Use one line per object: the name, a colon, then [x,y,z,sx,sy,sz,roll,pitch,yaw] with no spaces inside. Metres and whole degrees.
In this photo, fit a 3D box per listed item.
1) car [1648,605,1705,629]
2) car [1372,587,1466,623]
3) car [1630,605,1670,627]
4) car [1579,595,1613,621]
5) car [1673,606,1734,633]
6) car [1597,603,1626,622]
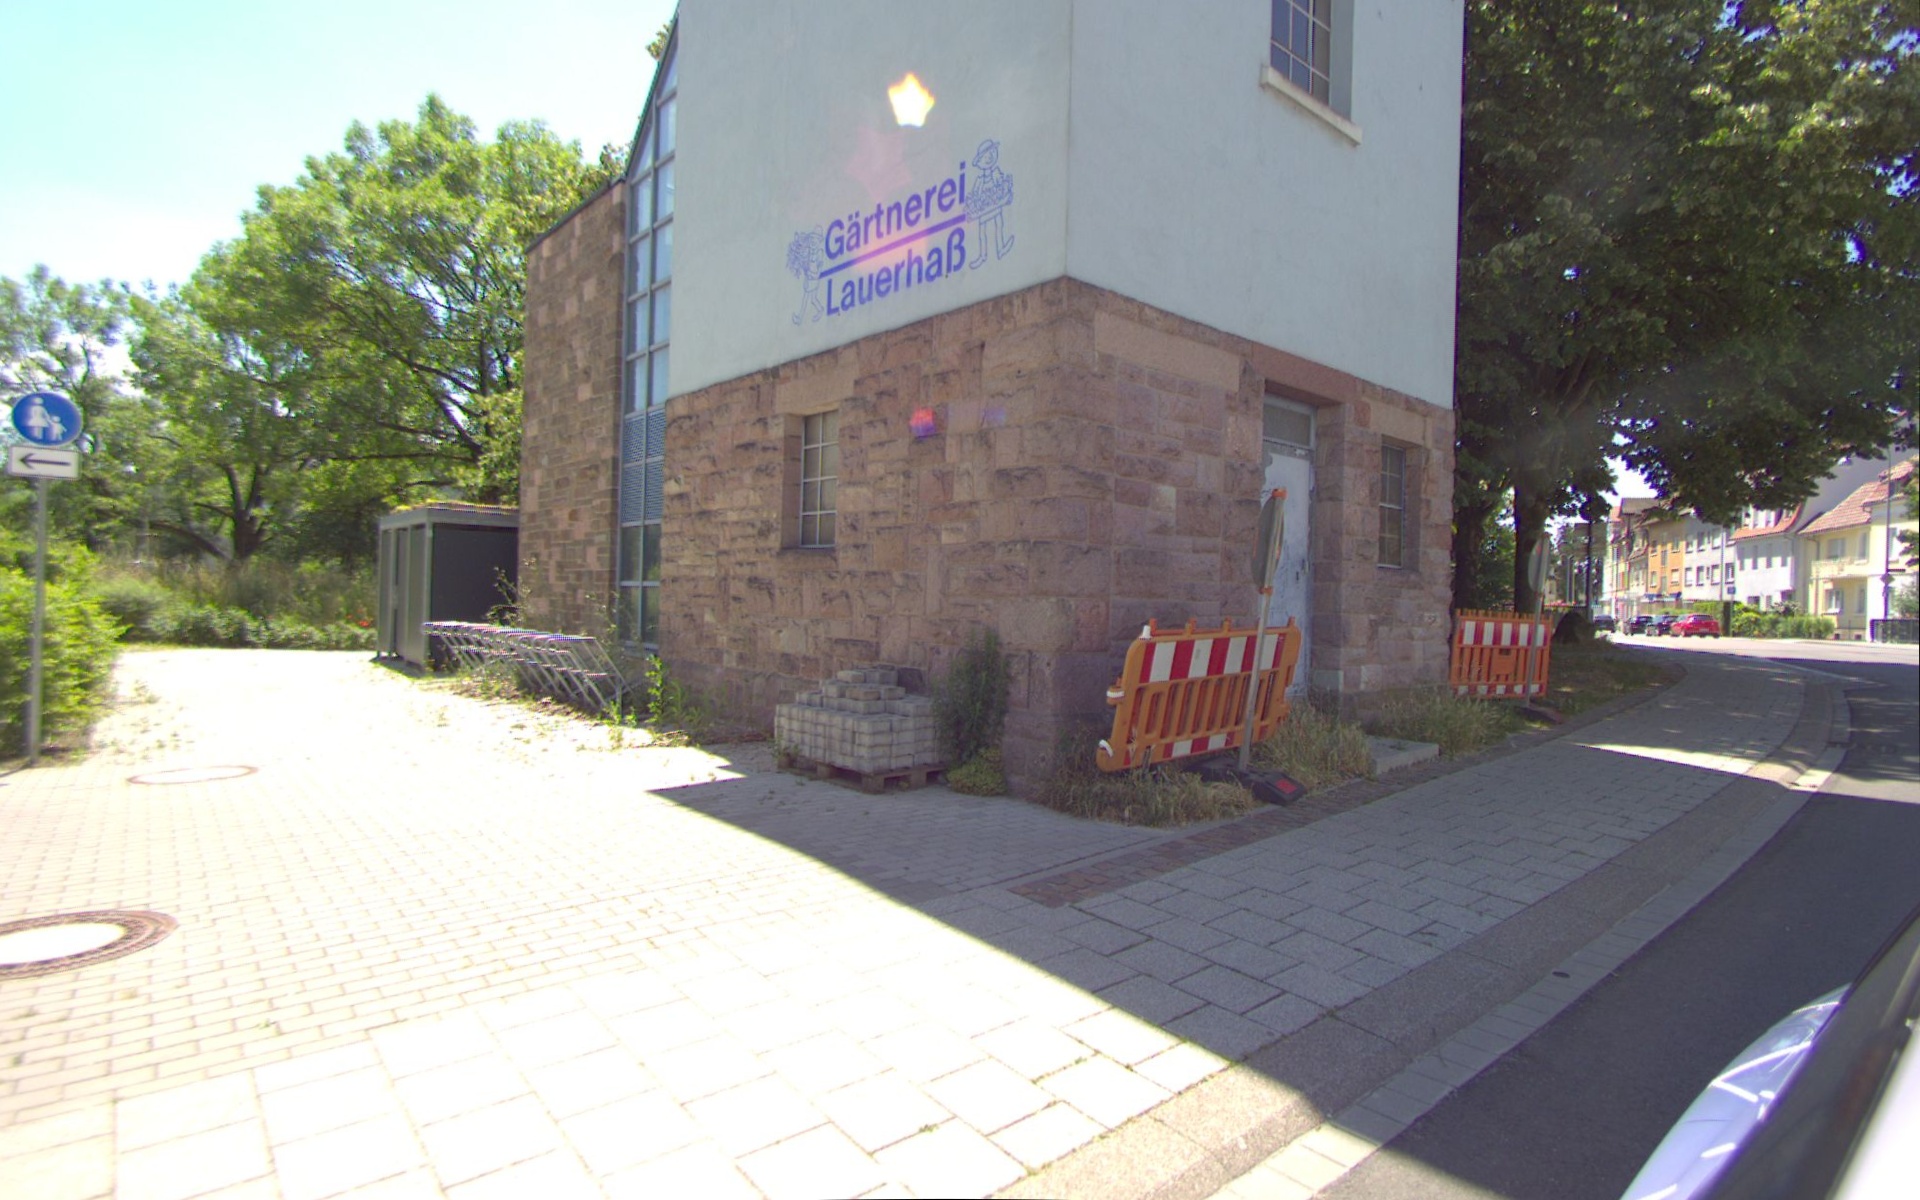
car: [46.754,1.121,66.142,1.848,1.480,5.265,0,-1,22]
car: [24.043,0.254,53.154,4.290,1.862,1.741,0,0,16]
car: [48.840,1.139,71.695,1.776,1.478,4.157,-2,-2,27]
car: [62.810,0.826,100.017,2.104,2.481,6.061,0,-1,26]
car: [44.523,1.148,60.694,1.862,1.499,4.700,-1,-1,23]
car: [57.979,1.128,90.130,2.076,1.635,5.049,0,-1,32]
